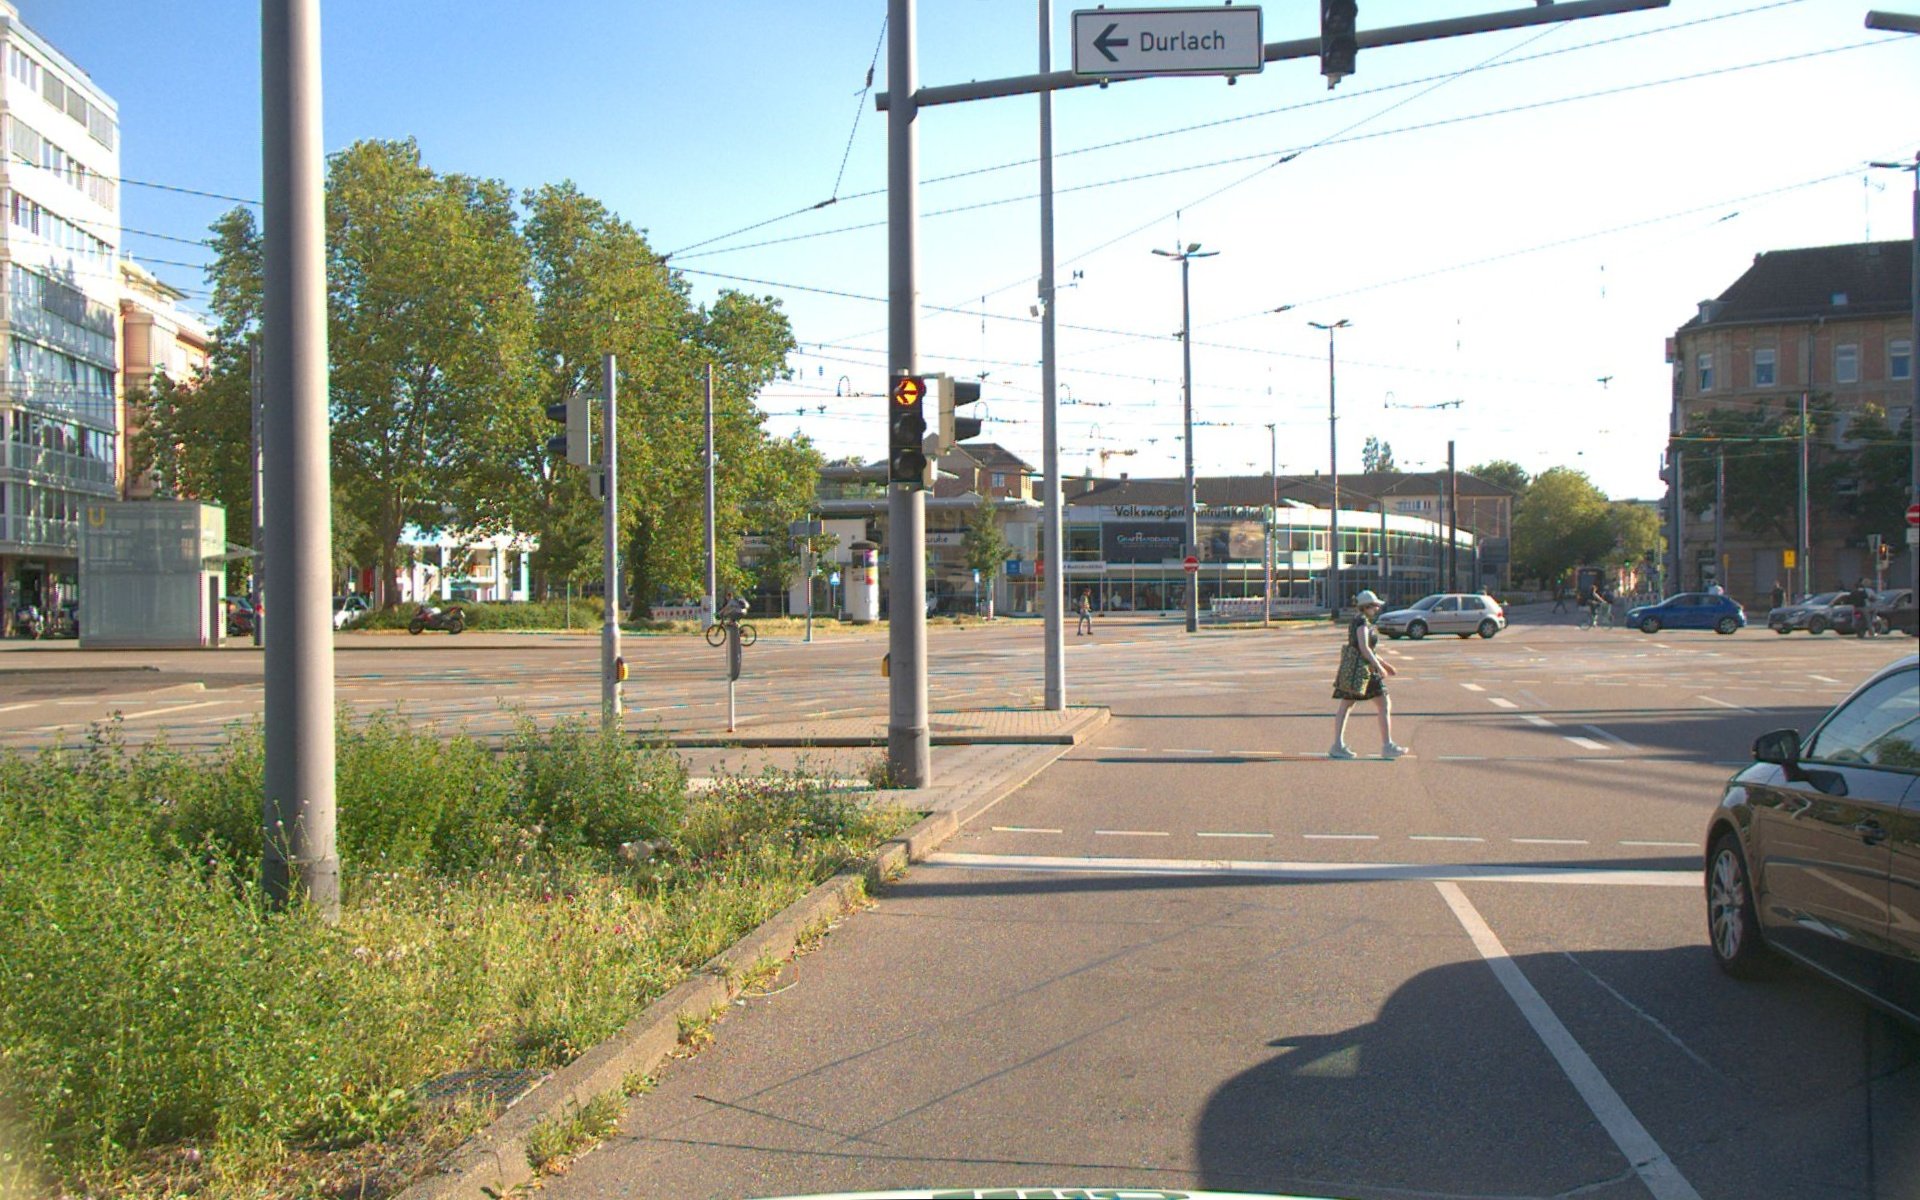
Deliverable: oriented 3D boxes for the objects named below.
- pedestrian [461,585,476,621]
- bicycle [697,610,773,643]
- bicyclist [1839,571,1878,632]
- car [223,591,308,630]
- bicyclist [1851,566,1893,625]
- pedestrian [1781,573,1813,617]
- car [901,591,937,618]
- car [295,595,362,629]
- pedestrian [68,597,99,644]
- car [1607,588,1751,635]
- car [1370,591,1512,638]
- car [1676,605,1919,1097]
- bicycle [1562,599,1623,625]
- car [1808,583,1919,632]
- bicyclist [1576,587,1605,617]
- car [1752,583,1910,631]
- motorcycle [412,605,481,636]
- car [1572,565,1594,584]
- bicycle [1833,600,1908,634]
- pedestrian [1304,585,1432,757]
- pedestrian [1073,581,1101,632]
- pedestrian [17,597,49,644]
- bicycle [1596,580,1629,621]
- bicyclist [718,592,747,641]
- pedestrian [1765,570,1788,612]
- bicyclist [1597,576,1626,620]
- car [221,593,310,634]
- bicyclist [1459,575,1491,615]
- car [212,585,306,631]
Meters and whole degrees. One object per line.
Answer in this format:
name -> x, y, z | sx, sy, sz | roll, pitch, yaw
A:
pedestrian -> -28.506, 0.163, 95.890 | 0.576, 2.049, 0.711 | 0, 0, 9
bicycle -> -7.289, 0.855, 53.696 | 2.391, 1.021, 0.962 | -1, 0, -6
bicyclist -> 26.728, 0.038, 49.202 | 0.575, 1.809, 0.860 | 0, 0, -26
car -> -35.759, 0.536, 85.194 | 3.938, 1.889, 1.838 | -1, 2, -26
bicyclist -> 27.278, -0.143, 49.483 | 0.641, 1.720, 0.853 | -1, 2, -26
pedestrian -> 32.938, -0.190, 65.103 | 0.904, 1.705, 0.783 | -1, 0, 9
car -> -2.658, 0.276, 108.010 | 1.952, 1.561, 4.003 | 0, 2, 3
car -> -27.884, 0.514, 73.177 | 1.811, 1.477, 3.994 | 0, 0, -7
pedestrian -> -32.079, 0.732, 60.566 | 0.761, 1.705, 0.781 | 0, 0, -8
car -> 25.731, 0.406, 59.333 | 4.504, 1.622, 1.955 | 0, 0, 16
car -> 15.526, 0.459, 53.506 | 4.014, 1.477, 1.952 | -1, 0, -5
car -> 3.904, 0.780, 5.613 | 1.762, 1.469, 3.982 | 1, 0, 9
bicycle -> 25.059, 0.456, 65.570 | 2.262, 0.976, 0.855 | 0, 2, -20
car -> 29.888, 0.231, 53.806 | 4.031, 1.512, 1.941 | -1, 0, -22
bicyclist -> 24.971, 0.087, 65.531 | 0.702, 1.162, 0.832 | 0, 2, -20
car -> 29.750, 0.228, 56.565 | 4.455, 1.544, 1.952 | -1, 0, -5
motorcycle -> -18.522, 0.730, 59.675 | 2.239, 1.072, 0.687 | 0, 2, -4
car -> 56.456, -2.339, 149.878 | 1.765, 1.684, 3.918 | 1, 2, 22
bicycle -> 27.230, 0.499, 49.461 | 2.268, 0.921, 0.853 | -1, 2, -27
pedestrian -> 3.990, 0.681, 16.227 | 1.070, 1.634, 0.699 | 0, 2, -1
pedestrian -> 4.689, 0.230, 61.054 | 0.968, 1.847, 0.921 | 0, 2, 7
pedestrian -> -33.994, 0.733, 60.639 | 0.761, 1.705, 0.781 | 0, 0, -8
bicycle -> 29.807, 0.007, 75.556 | 1.113, 1.719, 3.997 | 1, 2, 25
bicyclist -> -7.381, 0.529, 53.683 | 0.906, 1.587, 0.962 | -1, 0, -6
pedestrian -> 32.714, -0.374, 66.292 | 0.632, 1.682, 0.552 | 0, 0, -28
bicyclist -> 29.712, -0.110, 75.447 | 1.097, 1.933, 1.072 | 1, 2, 27
car -> -33.991, 0.645, 80.910 | 3.938, 1.889, 1.838 | -1, 2, -26
bicyclist -> 20.558, -0.203, 66.048 | 0.907, 1.586, 0.857 | 0, 2, -13
car -> -32.333, 0.337, 76.265 | 3.938, 2.049, 1.984 | -1, 0, -26
